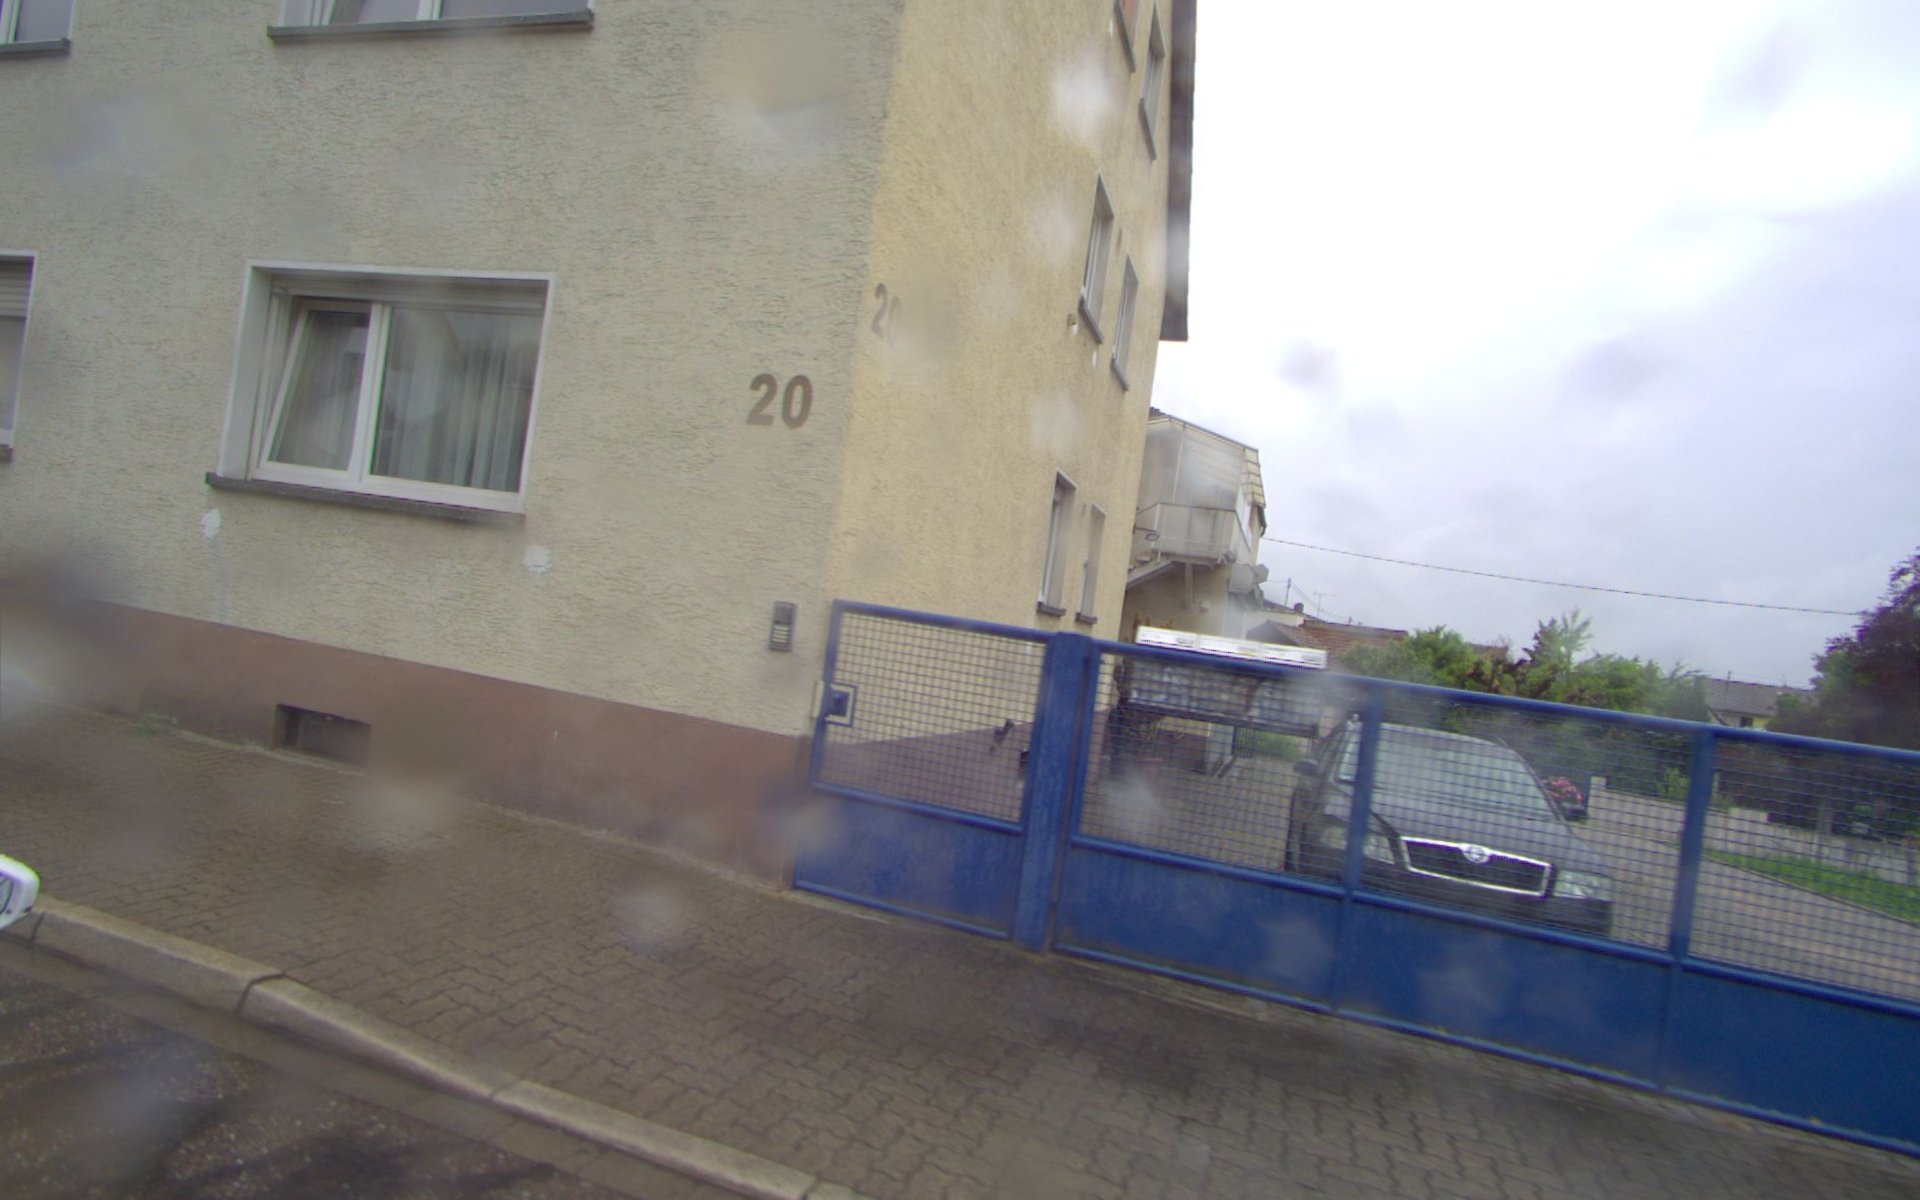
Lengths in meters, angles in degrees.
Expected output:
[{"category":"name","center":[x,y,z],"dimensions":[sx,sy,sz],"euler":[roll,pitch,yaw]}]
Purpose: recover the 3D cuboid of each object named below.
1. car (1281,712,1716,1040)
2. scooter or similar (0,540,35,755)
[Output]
[{"category":"car","center":[3.368,1.642,7.195],"dimensions":[1.876,1.315,4.168],"euler":[7,-5,18]},{"category":"scooter or similar","center":[-5.838,0.157,5.364],"dimensions":[1.375,1.140,0.623],"euler":[8,-1,18]}]
